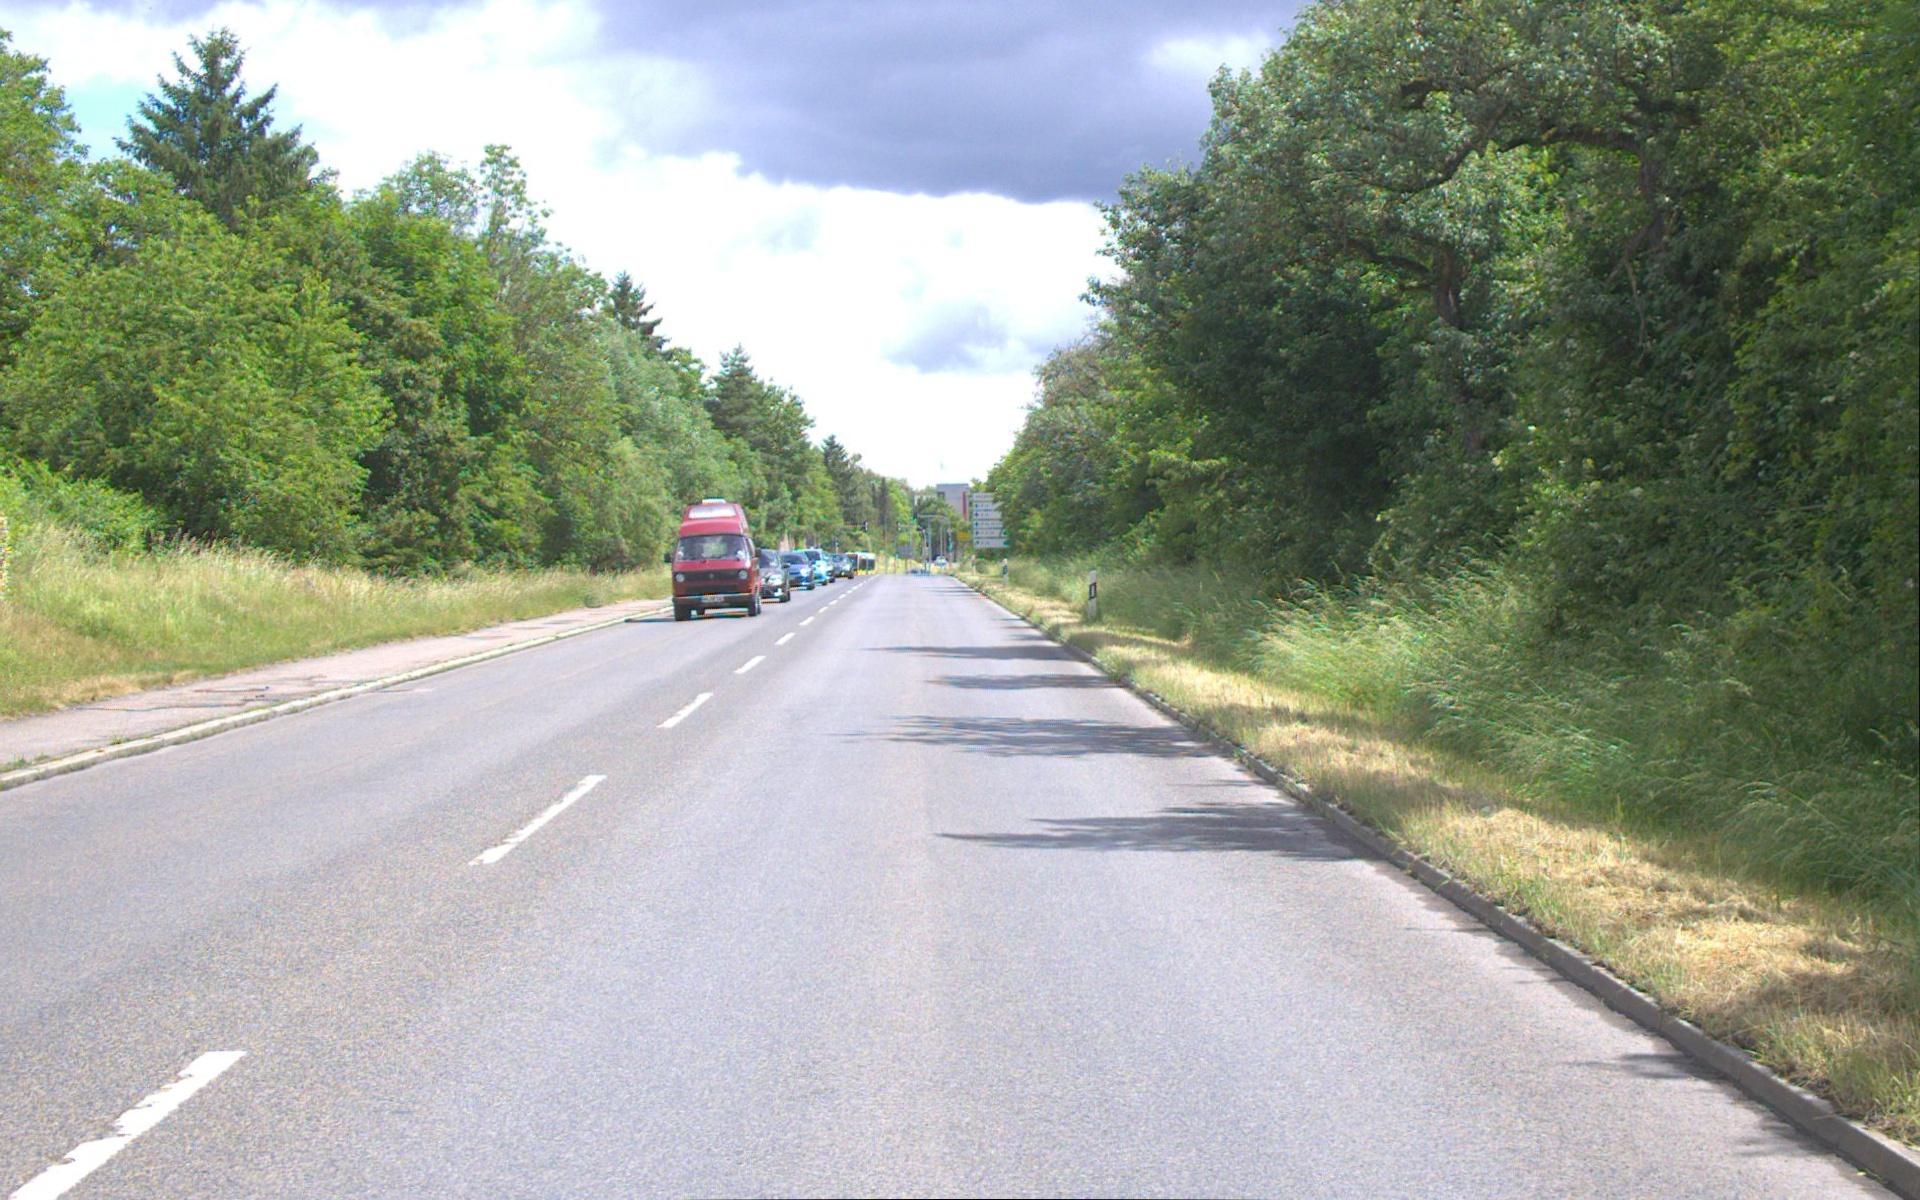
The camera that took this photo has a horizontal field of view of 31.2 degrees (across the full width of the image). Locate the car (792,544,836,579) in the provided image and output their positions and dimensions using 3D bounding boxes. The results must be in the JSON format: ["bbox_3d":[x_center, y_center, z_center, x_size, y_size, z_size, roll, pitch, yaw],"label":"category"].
[{"bbox_3d":[-6.726,-1.774,158.507,1.884,1.486,4.718,-3,1,-2],"label":"car"}]

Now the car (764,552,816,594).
[{"bbox_3d":[-6.278,-1.020,127.497,1.784,1.441,4.453,-3,1,-2],"label":"car"}]

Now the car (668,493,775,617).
[{"bbox_3d":[-5.197,-0.996,75.501,1.969,2.541,4.725,-3,1,-1],"label":"car"}]

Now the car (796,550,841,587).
[{"bbox_3d":[-5.891,-1.334,143.531,1.784,1.441,2.966,-3,1,-2],"label":"car"}]

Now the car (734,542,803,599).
[{"bbox_3d":[-5.329,-0.835,95.987,1.716,1.466,4.000,-3,1,-2],"label":"car"}]
